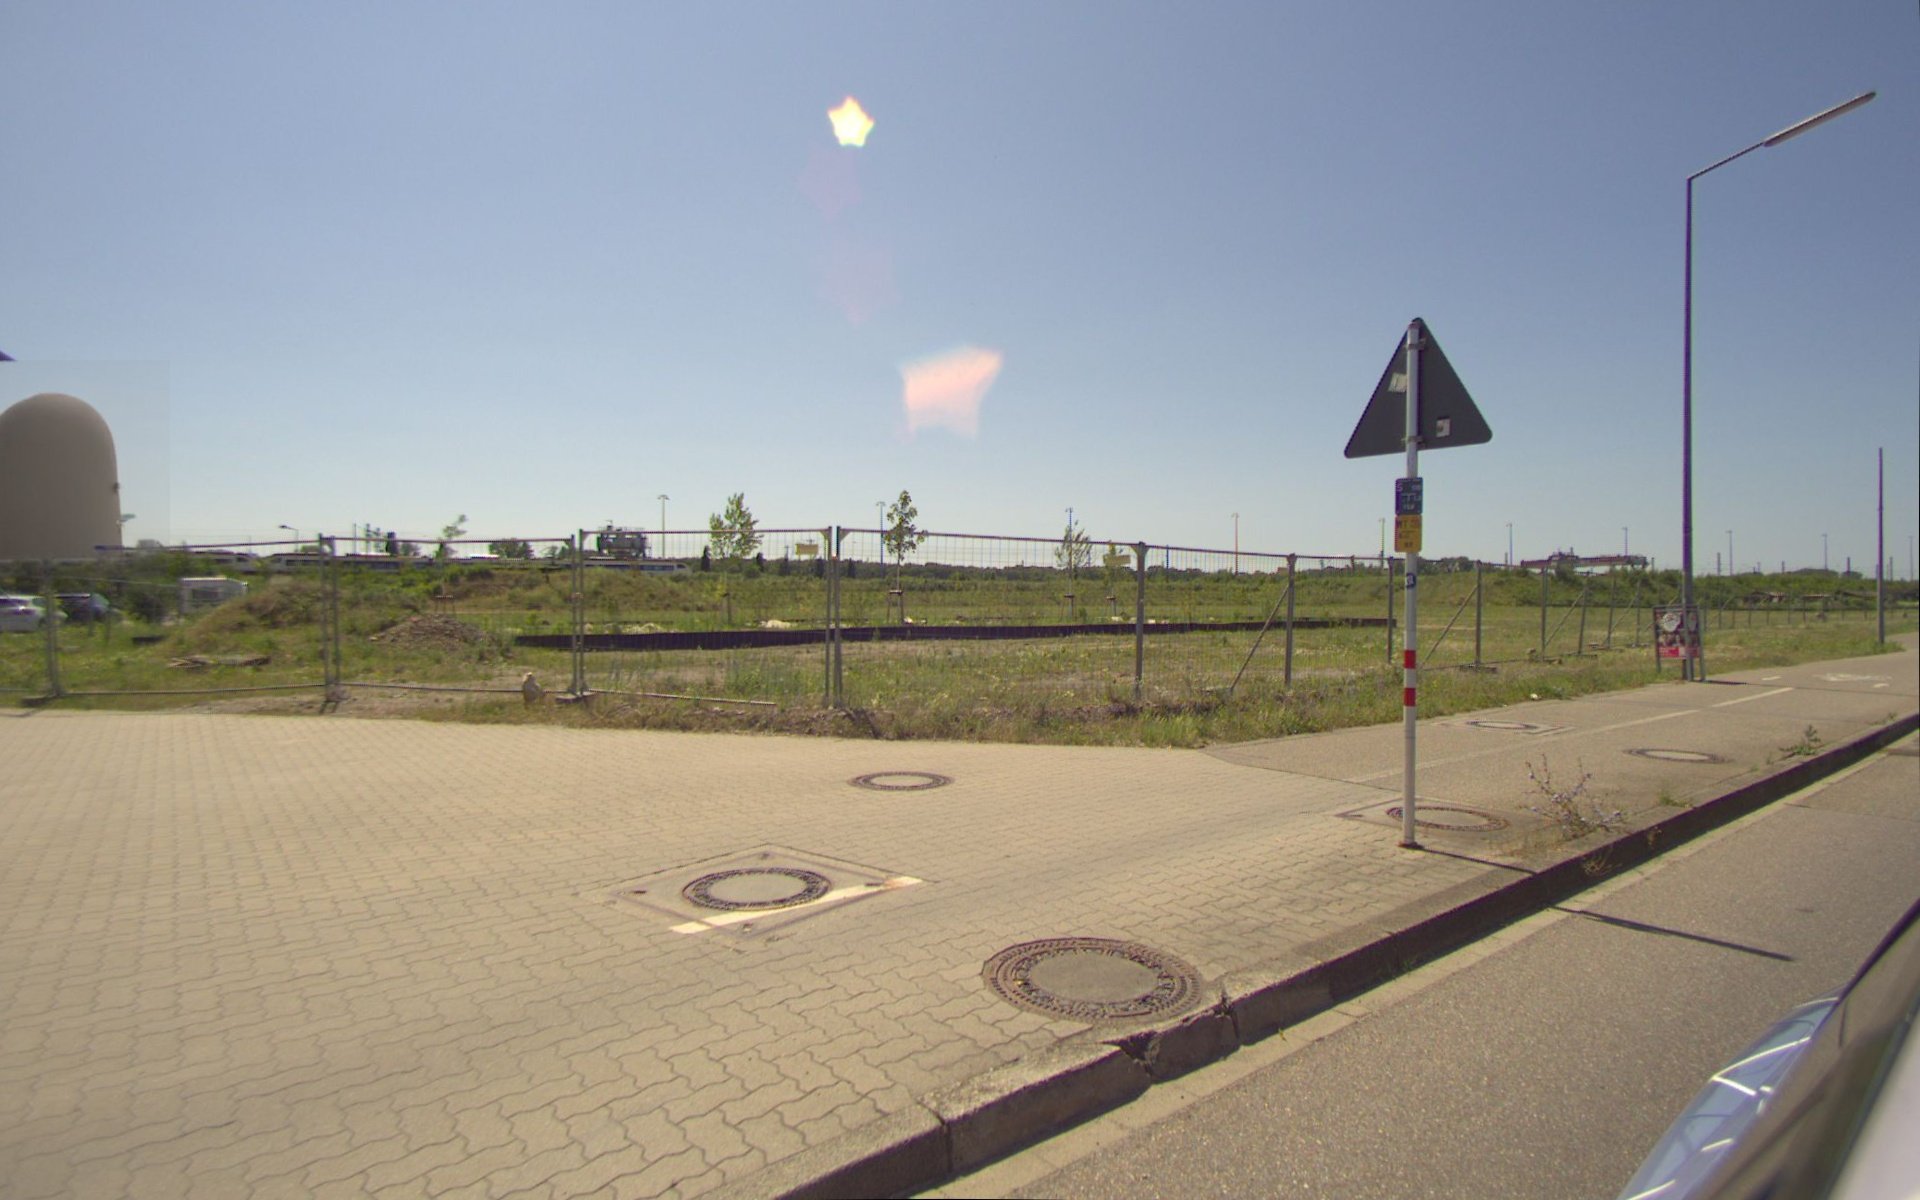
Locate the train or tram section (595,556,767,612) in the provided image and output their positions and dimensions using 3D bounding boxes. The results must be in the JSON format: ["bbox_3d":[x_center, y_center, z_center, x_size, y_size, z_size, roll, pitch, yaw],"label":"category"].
[{"bbox_3d":[-52.740,-2.853,191.785,30.561,10.053,9.617,0,-1,-23],"label":"train or tram section"}]

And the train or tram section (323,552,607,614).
[{"bbox_3d":[-85.488,-2.799,177.899,43.850,10.053,9.617,0,-1,-23],"label":"train or tram section"}]

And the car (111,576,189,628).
[{"bbox_3d":[-34.083,0.120,42.674,1.842,2.039,3.920,-1,-1,-28],"label":"car"}]

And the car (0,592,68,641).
[{"bbox_3d":[-31.870,0.546,34.149,1.713,1.577,4.050,0,0,-28],"label":"car"}]

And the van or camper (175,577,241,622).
[{"bbox_3d":[-49.355,-0.036,66.553,2.513,2.811,6.434,0,0,-28],"label":"van or camper"}]

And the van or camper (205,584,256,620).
[{"bbox_3d":[-53.163,0.146,73.841,2.355,2.567,5.442,0,0,-29],"label":"van or camper"}]

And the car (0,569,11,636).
[{"bbox_3d":[-29.564,0.080,29.295,1.841,2.039,3.923,0,0,-24],"label":"car"}]

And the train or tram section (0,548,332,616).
[{"bbox_3d":[-126.038,-2.627,160.577,43.850,10.053,9.617,0,-1,-23],"label":"train or tram section"}]
